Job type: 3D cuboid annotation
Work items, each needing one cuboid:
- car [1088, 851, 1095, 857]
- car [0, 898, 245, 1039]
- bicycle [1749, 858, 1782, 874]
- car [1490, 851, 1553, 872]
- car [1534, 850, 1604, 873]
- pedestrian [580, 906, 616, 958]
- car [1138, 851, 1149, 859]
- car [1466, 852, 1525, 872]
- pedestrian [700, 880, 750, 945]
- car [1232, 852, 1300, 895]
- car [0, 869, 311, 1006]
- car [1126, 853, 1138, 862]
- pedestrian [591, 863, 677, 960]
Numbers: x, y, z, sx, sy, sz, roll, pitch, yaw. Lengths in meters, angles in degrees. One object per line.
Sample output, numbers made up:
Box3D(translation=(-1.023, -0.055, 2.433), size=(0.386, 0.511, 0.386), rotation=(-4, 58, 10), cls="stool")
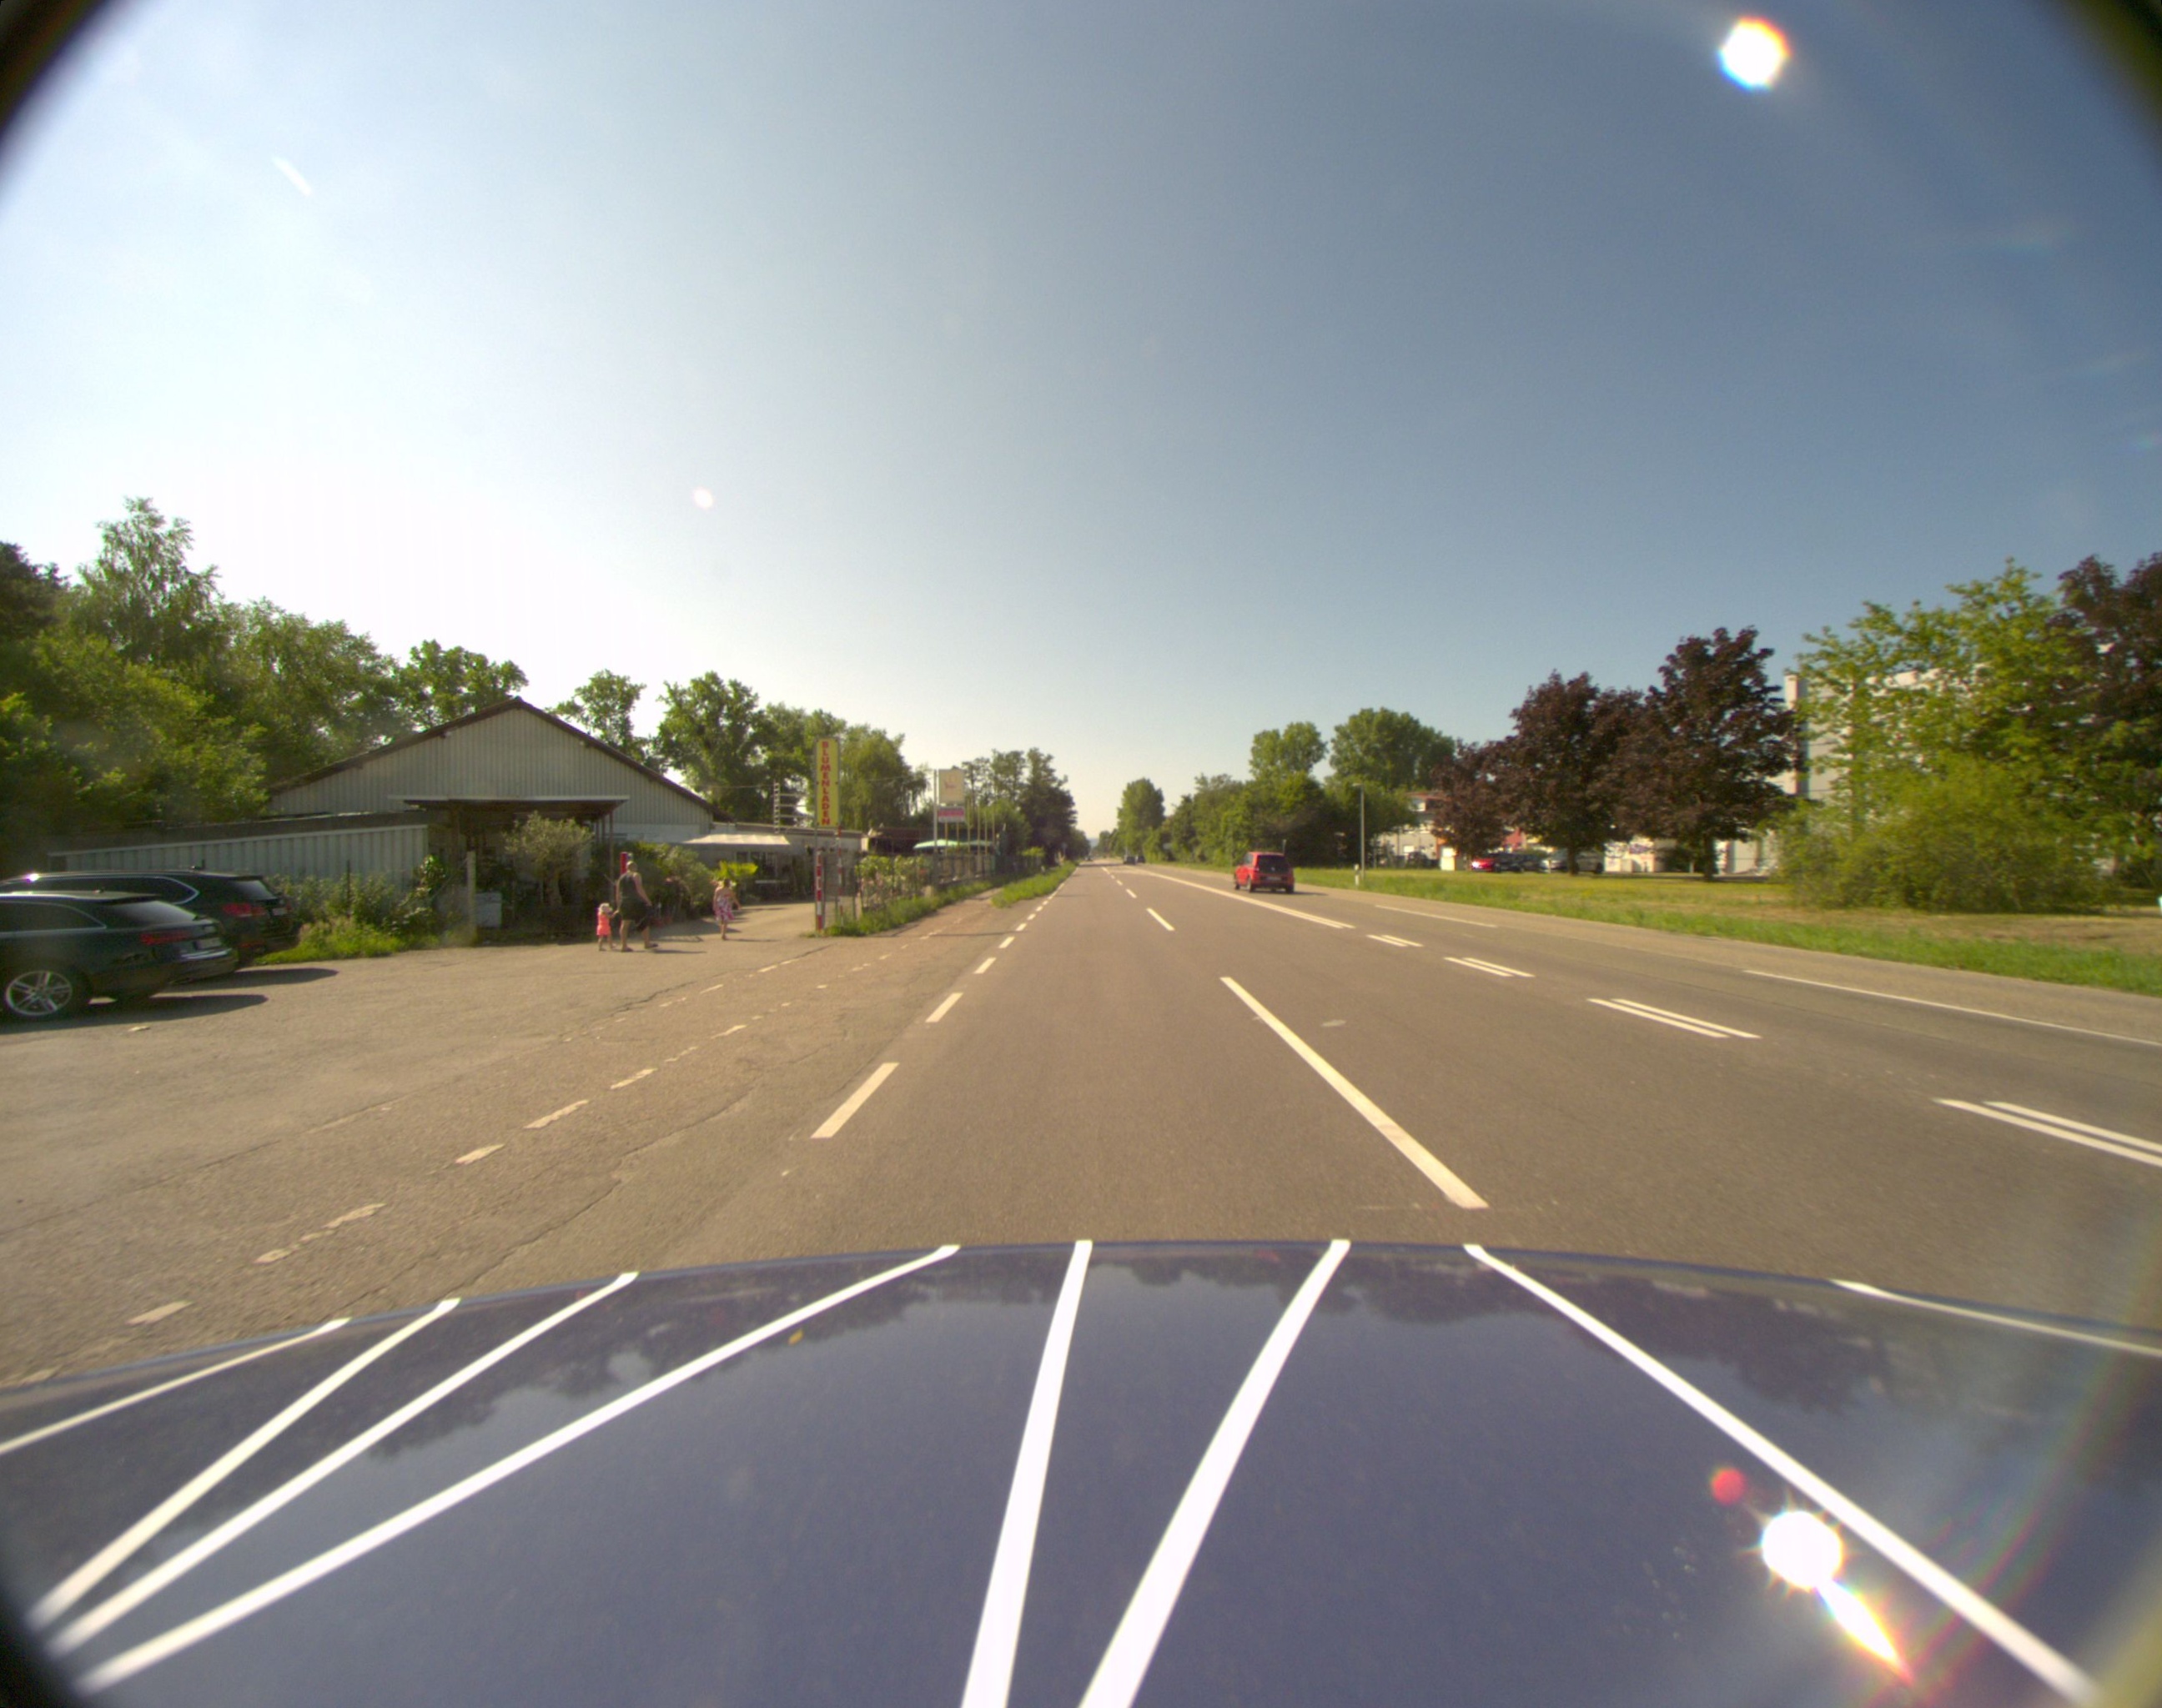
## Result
Box3D(translation=(2.726, 0.061, 198.518), size=(1.768, 1.403, 4.001), rotation=(0, -1, 2), cls="car")
Box3D(translation=(-13.063, 1.342, 8.622), size=(4.470, 1.422, 1.711), rotation=(-1, 0, -28), cls="car")
Box3D(translation=(36.466, 0.639, 40.499), size=(0.411, 0.807, 1.246), rotation=(-1, 0, -23), cls="bicycle")
Box3D(translation=(29.505, 0.487, 50.870), size=(4.006, 1.362, 1.818), rotation=(0, -1, -29), cls="car")
Box3D(translation=(29.101, 0.452, 45.293), size=(4.006, 1.362, 1.818), rotation=(0, -1, -29), cls="car")
Box3D(translation=(-9.423, 1.513, 14.824), size=(0.470, 0.978, 0.339), rotation=(-1, 1, -5), cls="pedestrian")
Box3D(translation=(11.353, 0.124, 137.968), size=(1.768, 1.403, 4.001), rotation=(0, -1, 2), cls="car")
Box3D(translation=(29.305, 0.540, 53.739), size=(4.006, 1.362, 1.818), rotation=(0, -1, -29), cls="car")
Box3D(translation=(-7.723, 1.255, 16.516), size=(0.724, 1.330, 0.825), rotation=(-1, 1, -5), cls="pedestrian")
Box3D(translation=(7.082, 0.694, 29.453), size=(1.654, 1.489, 3.844), rotation=(2, 0, 0), cls="car")
Box3D(translation=(-14.886, 1.174, 11.269), size=(4.470, 1.792, 1.860), rotation=(-1, 0, -28), cls="car")
Box3D(translation=(8.010, 0.528, 119.396), size=(1.768, 1.403, 4.174), rotation=(0, -1, 2), cls="car")
Box3D(translation=(-8.582, 1.077, 14.636), size=(1.100, 1.775, 0.936), rotation=(-1, 1, -5), cls="pedestrian")
